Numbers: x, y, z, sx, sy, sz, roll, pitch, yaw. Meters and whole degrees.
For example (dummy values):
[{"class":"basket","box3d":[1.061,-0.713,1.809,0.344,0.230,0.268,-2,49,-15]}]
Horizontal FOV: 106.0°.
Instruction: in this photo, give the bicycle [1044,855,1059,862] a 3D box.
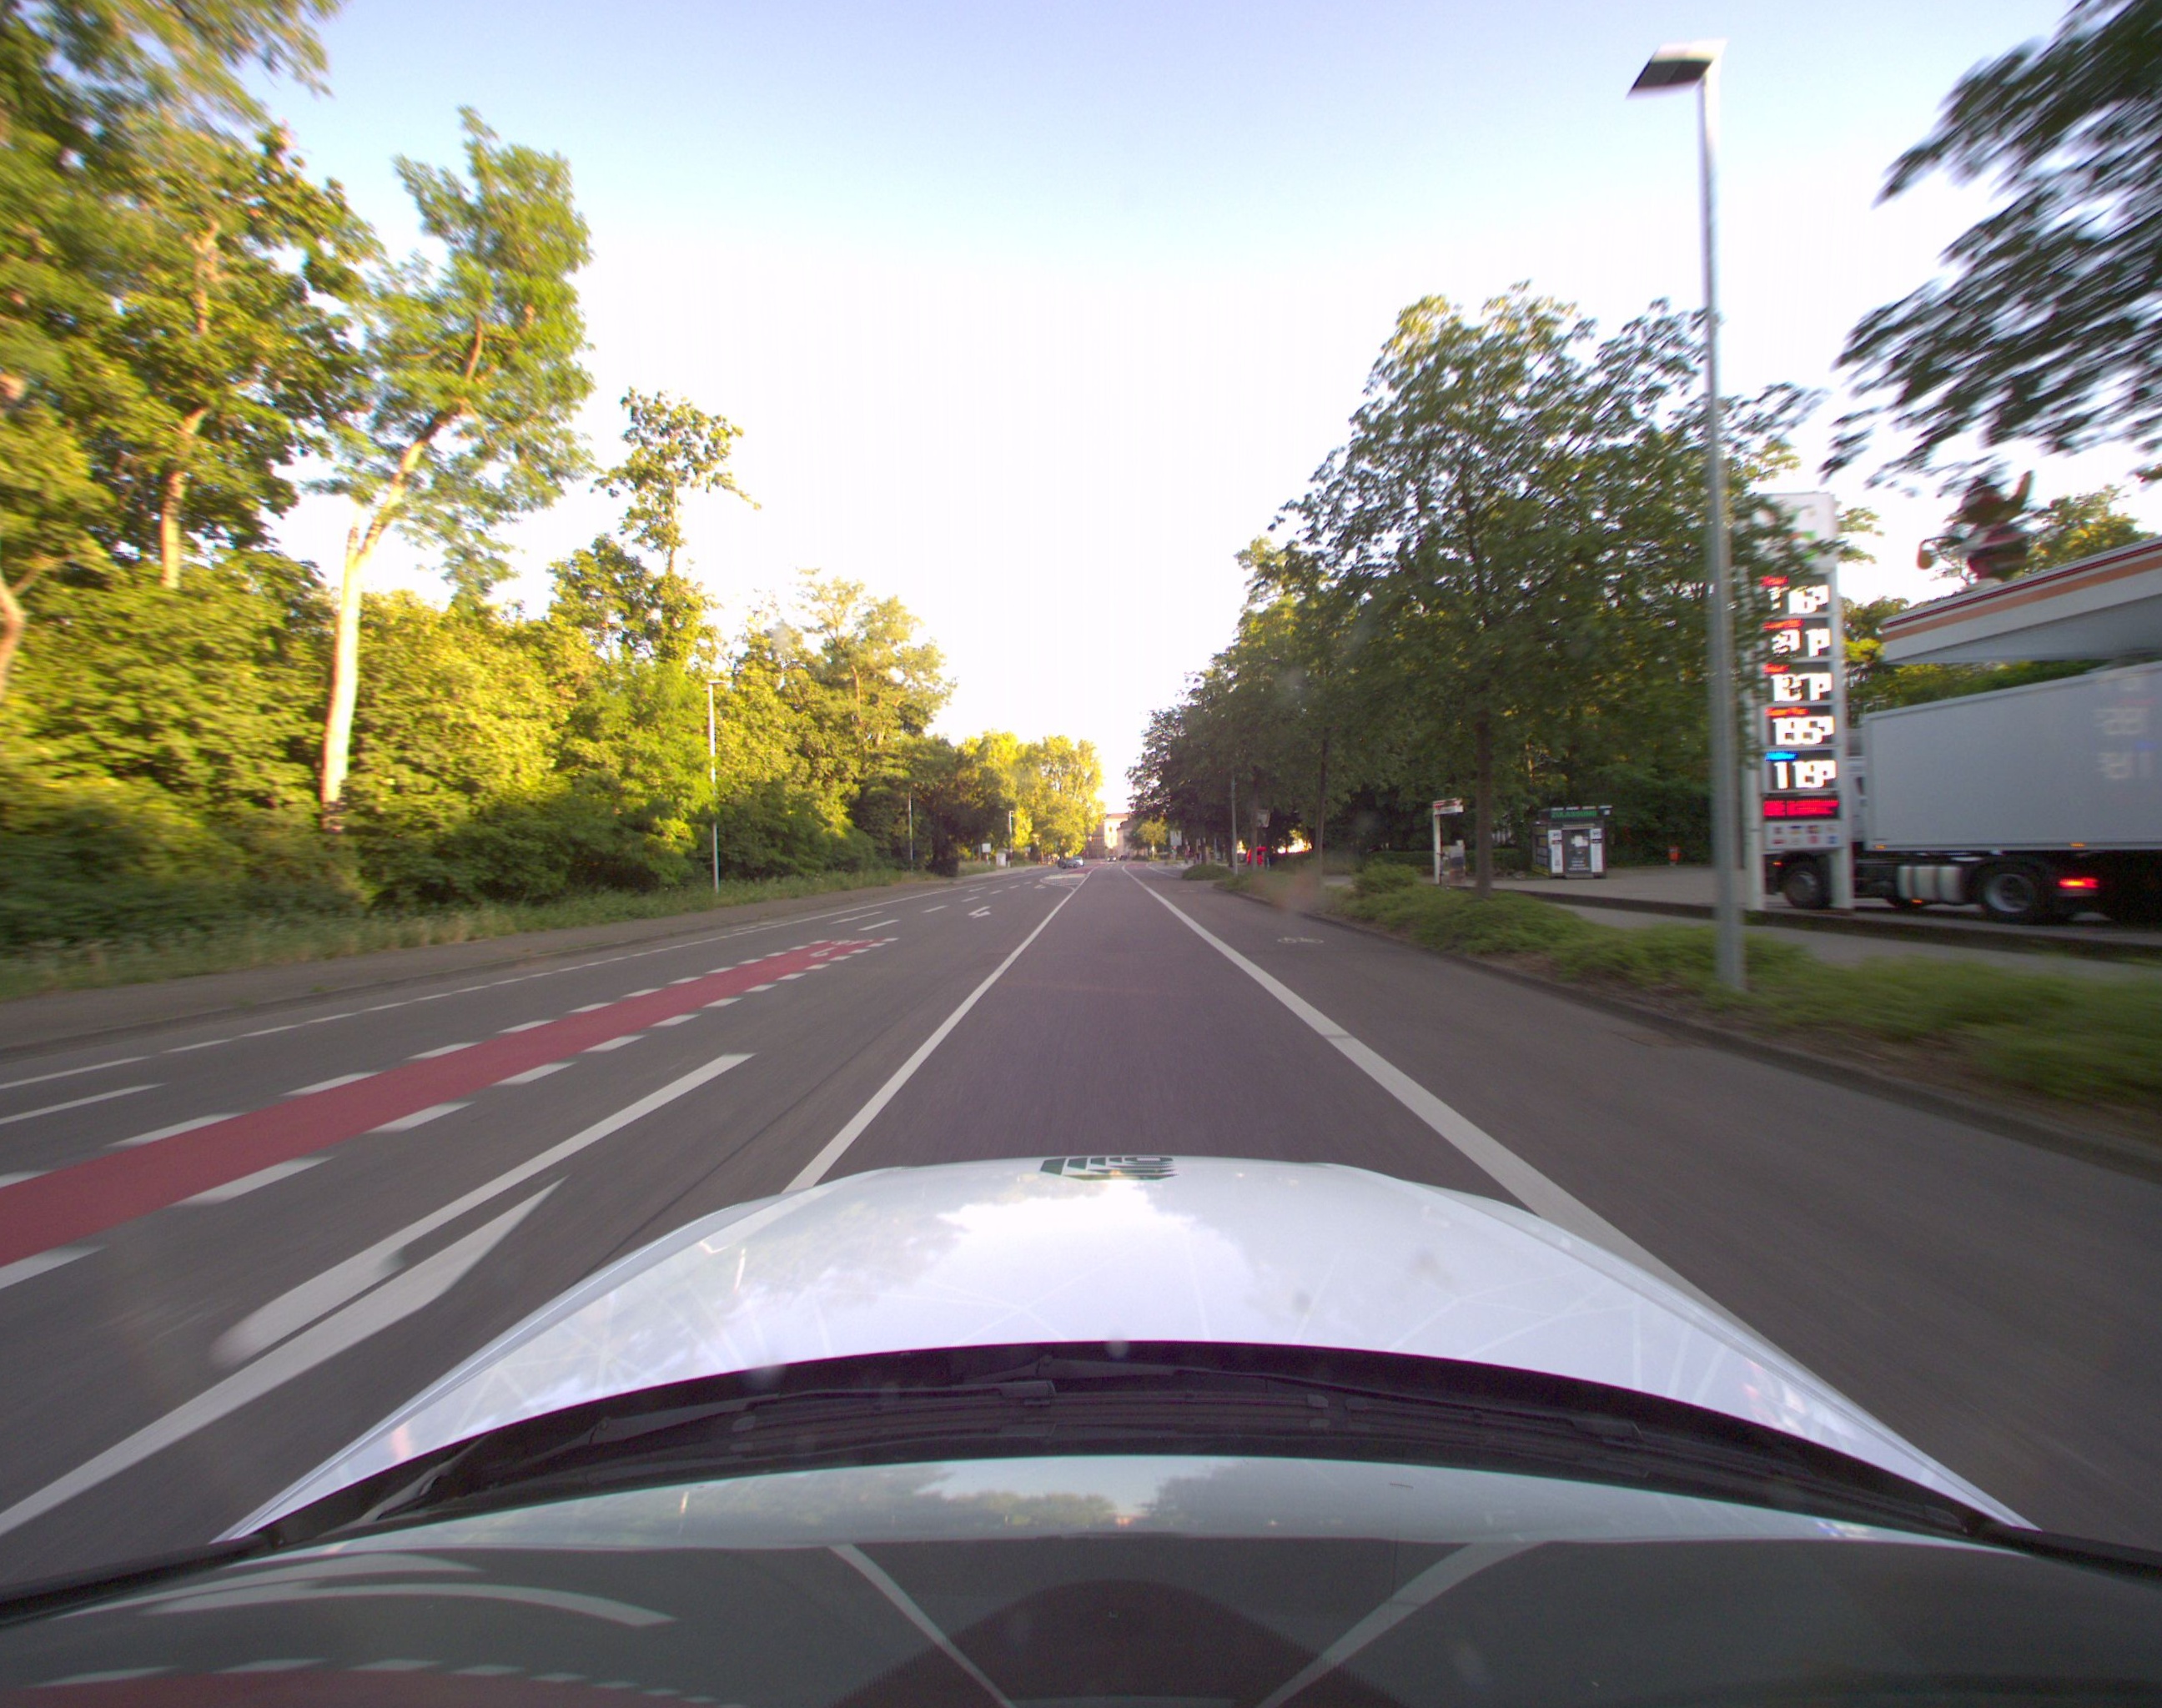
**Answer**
[{"class":"bicycle","box3d":[-5.270,0.831,144.707,2.446,1.195,0.759,-2,0,11]}]

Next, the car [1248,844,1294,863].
[{"class":"car","box3d":[20.912,-0.059,89.792,4.881,1.990,1.927,-2,0,9]}]

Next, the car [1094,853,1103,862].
[{"class":"car","box3d":[3.085,0.618,145.658,1.487,1.486,3.493,-2,0,3]}]

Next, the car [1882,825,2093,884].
[{"class":"car","box3d":[27.483,0.000,24.974,1.775,1.518,4.712,-4,0,11]}]

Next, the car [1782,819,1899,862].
[{"class":"car","box3d":[34.727,-0.614,37.426,1.904,1.707,4.718,-4,0,16]}]

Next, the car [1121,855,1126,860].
[{"class":"car","box3d":[11.627,0.941,222.129,1.487,1.486,3.493,-2,0,3]}]

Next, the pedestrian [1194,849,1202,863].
[{"class":"pedestrian","box3d":[14.231,0.266,98.981,0.766,1.740,0.732,-2,0,2]}]

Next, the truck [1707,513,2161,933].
[{"class":"truck","box3d":[15.533,-1.772,13.901,3.025,5.455,8.405,-2,1,-1]}]

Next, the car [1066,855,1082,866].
[{"class":"car","box3d":[-0.918,0.852,107.957,1.789,1.453,4.132,-2,0,4]}]

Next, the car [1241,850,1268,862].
[{"class":"car","box3d":[25.440,0.326,119.241,3.751,1.590,1.720,-2,0,9]}]

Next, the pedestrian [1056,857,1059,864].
[{"class":"pedestrian","box3d":[-4.325,1.185,149.674,0.579,1.430,0.559,0,0,-7]}]

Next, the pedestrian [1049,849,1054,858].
[{"class":"pedestrian","box3d":[-5.201,-0.062,144.676,0.786,1.580,0.748,0,0,11]}]

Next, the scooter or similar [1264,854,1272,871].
[{"class":"scooter or similar","box3d":[11.870,0.517,51.750,0.309,1.041,0.981,-2,0,2]}]

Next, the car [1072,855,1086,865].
[{"class":"car","box3d":[-0.252,0.974,126.287,1.789,1.453,4.132,-2,0,4]}]

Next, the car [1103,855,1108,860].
[{"class":"car","box3d":[7.304,0.950,245.952,1.487,1.486,3.493,-2,0,3]}]

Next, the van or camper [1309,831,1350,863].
[{"class":"van or camper","box3d":[26.243,-0.685,86.257,3.415,3.199,8.258,0,0,12]}]

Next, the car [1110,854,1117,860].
[{"class":"car","box3d":[7.615,0.712,190.692,1.487,1.486,3.493,-2,0,3]}]

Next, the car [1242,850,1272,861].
[{"class":"car","box3d":[27.490,0.183,127.279,4.433,1.590,1.720,-2,0,9]}]

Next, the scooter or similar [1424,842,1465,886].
[{"class":"scooter or similar","box3d":[11.059,0.290,24.820,0.595,1.282,1.469,-2,0,2]}]

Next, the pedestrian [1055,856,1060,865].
[{"class":"pedestrian","box3d":[-4.294,1.161,151.703,0.786,1.580,0.748,0,0,11]}]
